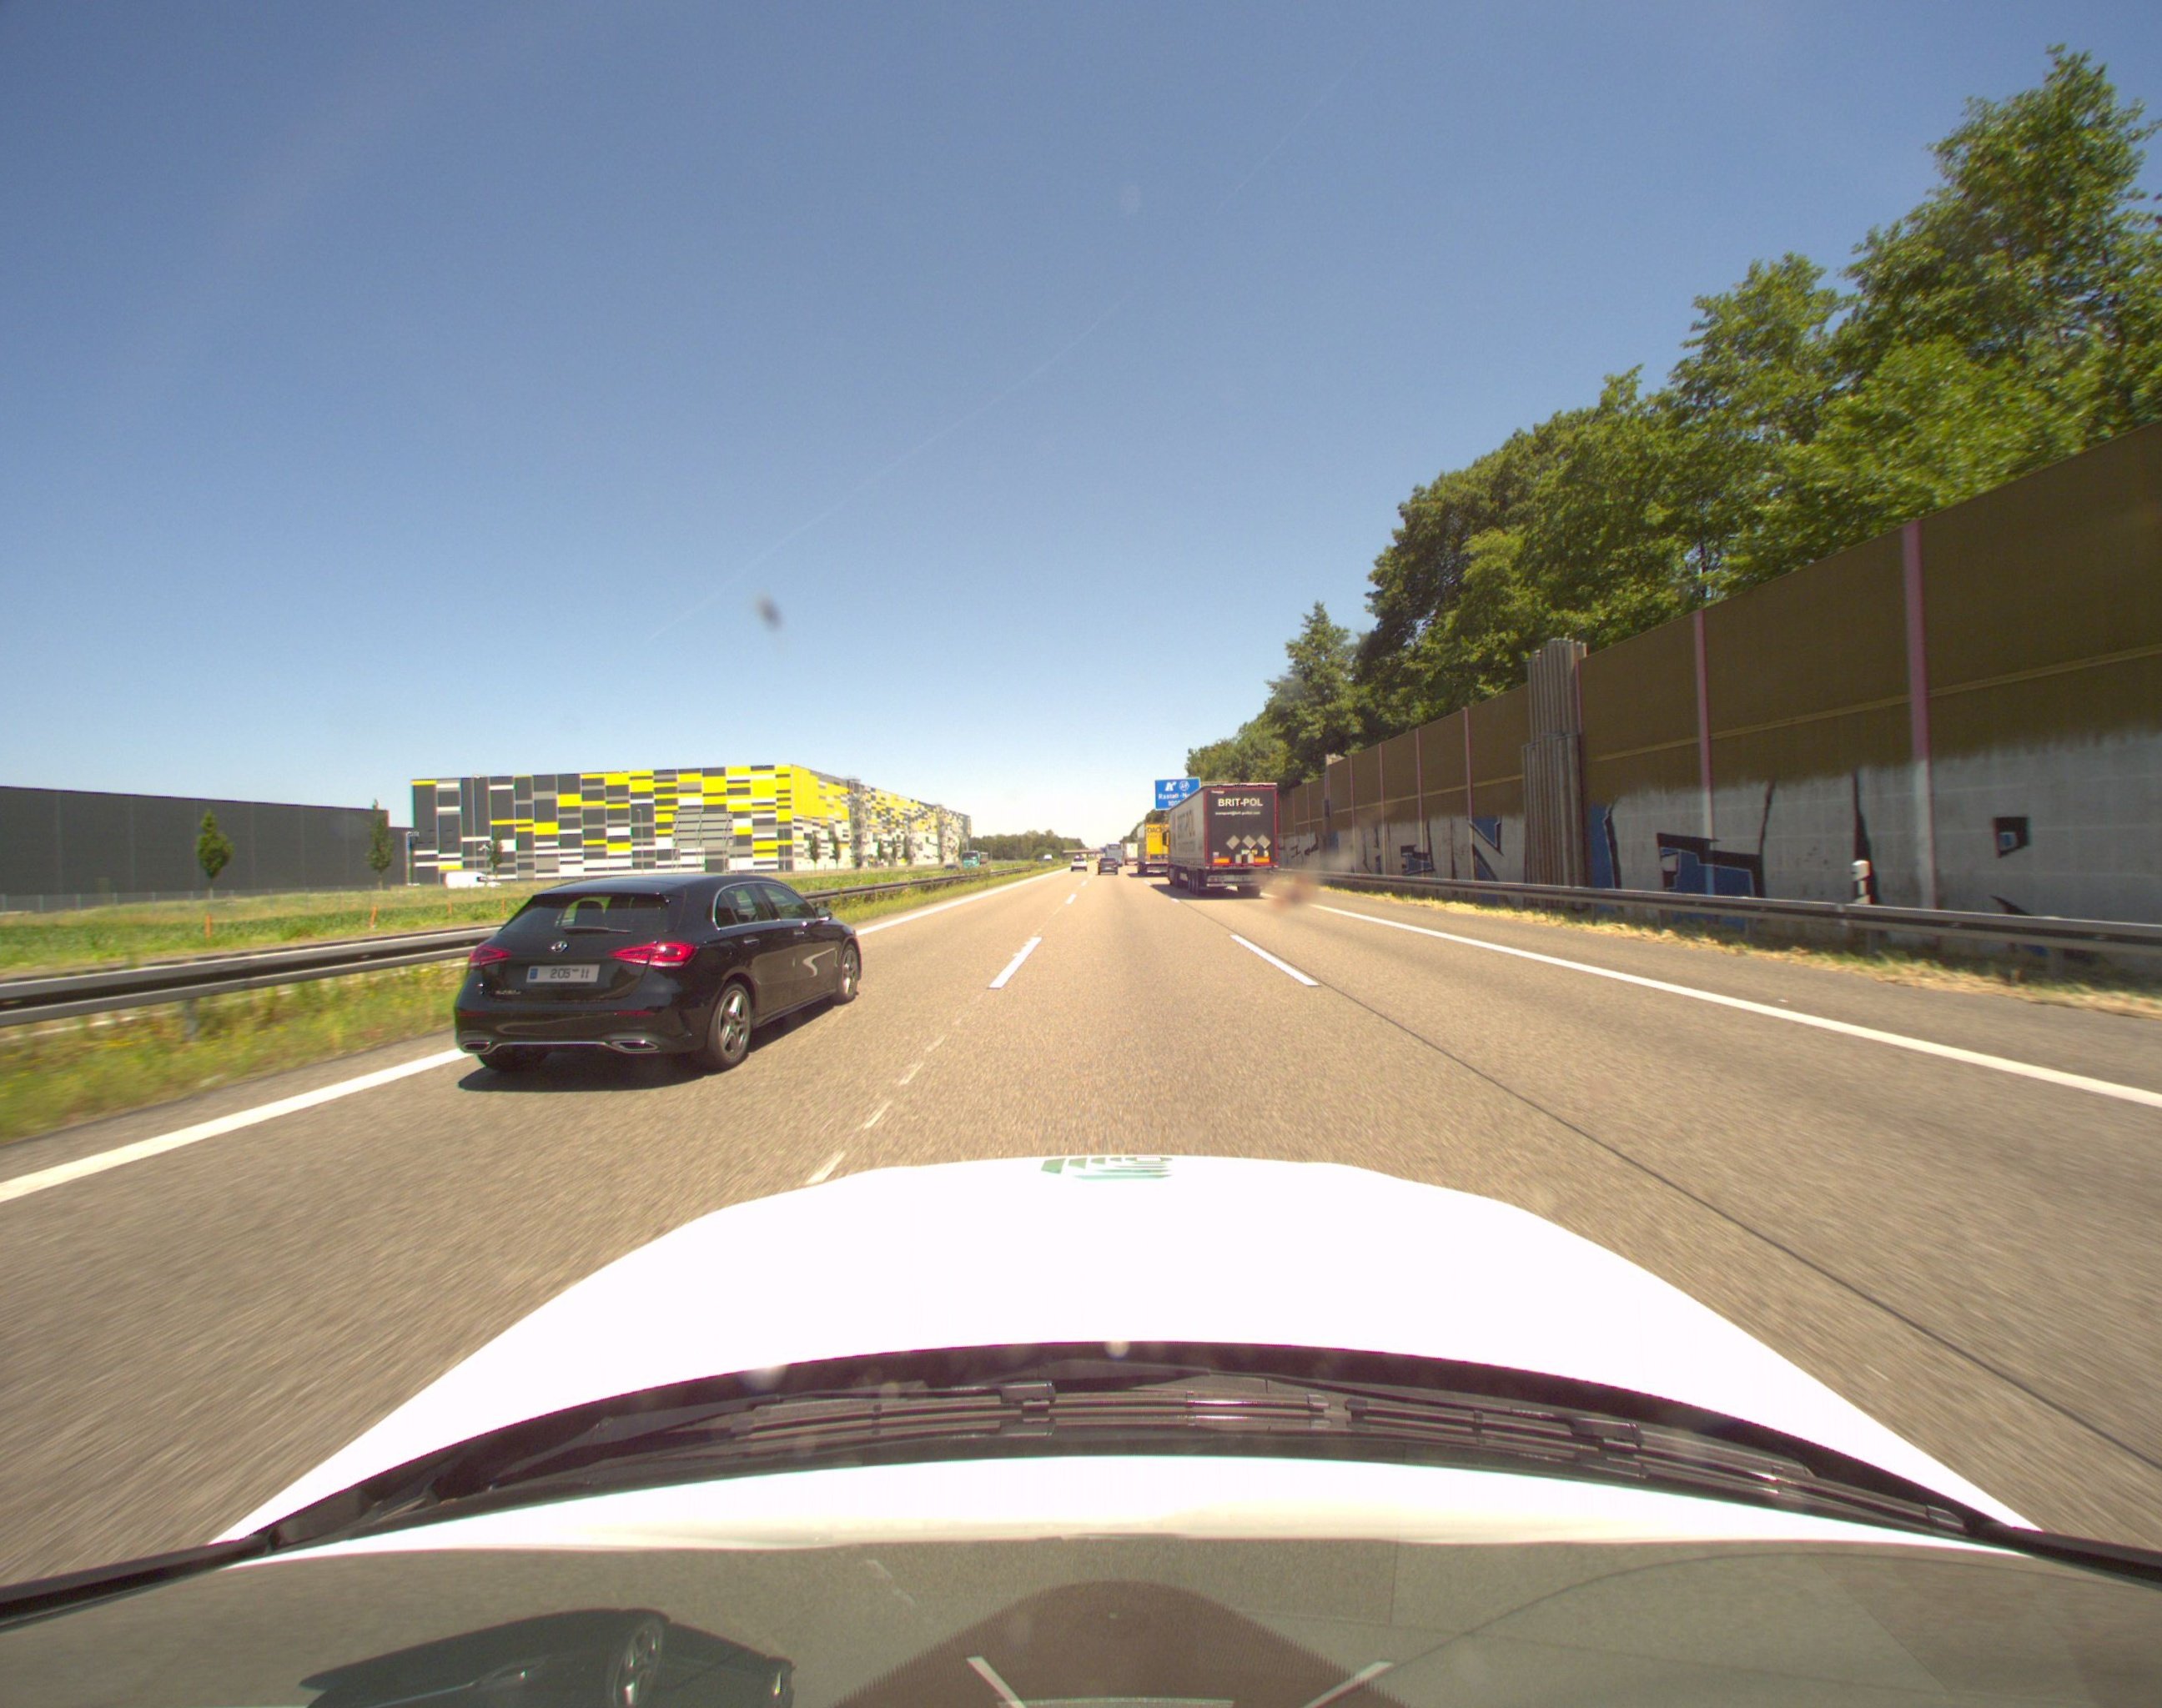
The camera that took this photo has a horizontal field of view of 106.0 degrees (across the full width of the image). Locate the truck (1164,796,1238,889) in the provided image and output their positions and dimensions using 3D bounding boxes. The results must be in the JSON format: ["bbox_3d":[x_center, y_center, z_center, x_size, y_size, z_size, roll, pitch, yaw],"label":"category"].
[{"bbox_3d":[6.059,-0.530,42.147,3.076,4.441,6.054,0,-1,1],"label":"truck"}]

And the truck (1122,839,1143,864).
[{"bbox_3d":[9.063,-0.381,143.772,3.409,4.126,9.570,-2,0,3],"label":"truck"}]

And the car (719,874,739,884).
[{"bbox_3d":[-63.258,4.451,146.437,1.679,1.727,4.112,-2,0,0],"label":"car"}]

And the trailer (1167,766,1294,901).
[{"bbox_3d":[5.818,-0.614,34.809,3.094,4.507,14.901,-1,-1,2],"label":"trailer"}]

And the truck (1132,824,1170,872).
[{"bbox_3d":[6.110,-0.492,71.776,2.803,4.006,6.646,-2,0,1],"label":"truck"}]

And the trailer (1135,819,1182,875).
[{"bbox_3d":[5.944,-0.468,64.526,2.824,3.954,11.686,-1,0,1],"label":"trailer"}]

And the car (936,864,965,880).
[{"bbox_3d":[-14.337,1.935,89.726,1.986,1.639,5.666,-3,0,2],"label":"car"}]

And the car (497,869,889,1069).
[{"bbox_3d":[-3.374,0.896,8.083,1.785,1.412,4.055,-1,0,3],"label":"car"}]

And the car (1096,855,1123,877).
[{"bbox_3d":[2.508,1.029,72.359,2.208,1.790,5.394,-2,0,1],"label":"car"}]

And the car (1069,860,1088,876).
[{"bbox_3d":[-0.259,1.554,91.692,1.987,1.728,4.131,-1,0,1],"label":"car"}]

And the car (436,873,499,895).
[{"bbox_3d":[-71.455,3.468,95.027,5.628,2.178,2.088,-2,-1,-31],"label":"car"}]

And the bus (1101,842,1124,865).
[{"bbox_3d":[4.767,-0.063,124.128,3.052,3.326,8.273,-2,0,0],"label":"bus"}]

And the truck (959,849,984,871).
[{"bbox_3d":[-16.794,0.927,125.396,2.687,3.250,5.840,-2,-1,2],"label":"truck"}]
